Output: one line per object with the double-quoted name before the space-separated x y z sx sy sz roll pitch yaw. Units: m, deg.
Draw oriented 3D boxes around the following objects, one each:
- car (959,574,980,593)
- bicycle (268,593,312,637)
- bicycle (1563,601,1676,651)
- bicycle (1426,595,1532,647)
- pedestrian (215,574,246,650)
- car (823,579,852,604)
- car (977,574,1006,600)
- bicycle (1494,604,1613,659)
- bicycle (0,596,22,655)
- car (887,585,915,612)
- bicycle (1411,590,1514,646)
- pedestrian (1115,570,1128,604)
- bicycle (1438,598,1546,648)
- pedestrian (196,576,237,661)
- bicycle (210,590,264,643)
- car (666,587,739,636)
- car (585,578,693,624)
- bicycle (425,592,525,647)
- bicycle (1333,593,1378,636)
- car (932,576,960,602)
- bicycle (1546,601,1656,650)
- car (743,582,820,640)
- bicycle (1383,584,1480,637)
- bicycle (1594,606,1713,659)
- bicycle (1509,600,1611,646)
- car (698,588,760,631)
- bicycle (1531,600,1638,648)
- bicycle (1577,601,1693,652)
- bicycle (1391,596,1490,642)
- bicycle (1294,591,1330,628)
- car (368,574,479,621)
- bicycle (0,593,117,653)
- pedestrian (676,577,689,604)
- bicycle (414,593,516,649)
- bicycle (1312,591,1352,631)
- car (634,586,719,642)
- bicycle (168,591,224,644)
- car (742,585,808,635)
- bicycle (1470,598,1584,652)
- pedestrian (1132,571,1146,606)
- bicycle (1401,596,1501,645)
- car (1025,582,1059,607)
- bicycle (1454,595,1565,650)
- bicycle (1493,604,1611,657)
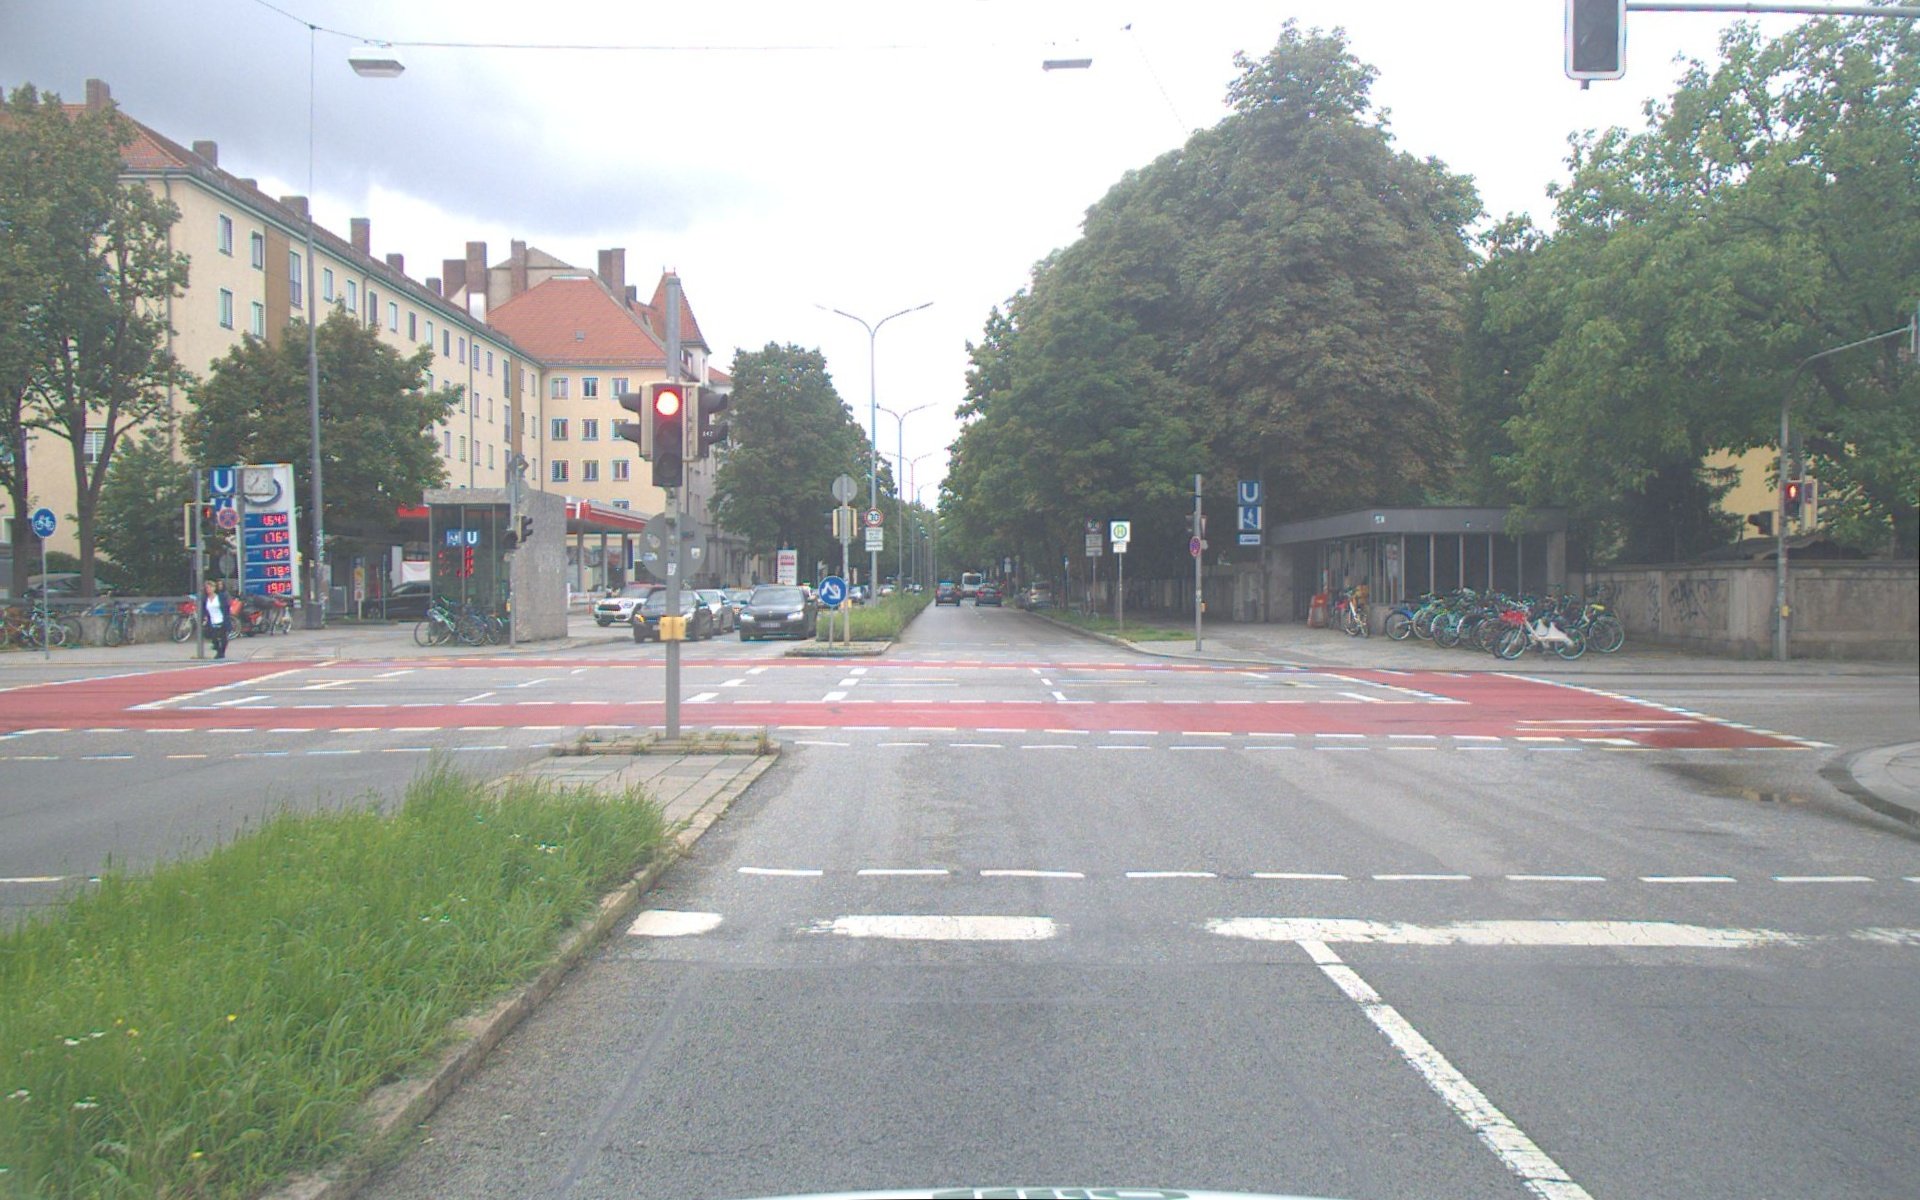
"car" 0.923 -1.556 159.163 1.953 1.787 3.999 0 1 -1
"bicycle" -18.402 0.388 45.447 0.596 1.165 1.963 0 1 -7
"bicycle" 13.785 0.541 34.598 2.097 1.032 0.634 0 0 8
"bicycle" 11.156 0.444 35.614 2.097 1.105 0.603 0 0 8
"pedestrian" -16.706 0.270 37.874 0.583 1.725 0.571 0 0 -31
"car" -8.531 -0.584 115.357 1.838 1.697 3.999 0 1 -2
"car" 2.139 -0.909 114.441 1.883 1.713 4.000 1 0 0
"bicycle" 11.504 0.610 32.089 2.097 1.032 0.603 0 0 8
"bicycle" -21.493 0.563 35.619 2.149 1.257 0.761 -1 0 -22
"car" -3.216 -0.118 90.334 1.438 1.423 3.699 0 1 -1
"bicycle" 11.022 0.390 36.350 2.097 1.199 0.603 0 0 8
"pedestrian" 8.131 -0.636 83.170 0.663 1.712 0.683 0 0 6
"bicycle" 11.201 0.474 34.885 2.097 1.032 0.603 0 0 8
"pedestrian" -15.388 0.377 34.239 0.522 1.725 0.577 0 0 11
"bicycle" -18.036 0.396 41.304 0.596 1.257 2.184 0 1 -7
"car" -8.231 0.332 53.137 1.724 1.486 4.000 0 1 -1
"car" -12.007 0.013 62.027 1.778 1.637 3.958 0 1 32
"bicycle" -11.908 0.479 40.646 2.238 1.327 0.694 0 0 0
"bicycle" 9.828 0.348 41.158 0.545 1.032 2.015 0 1 -2
"car" -0.952 -0.734 111.321 1.819 1.713 4.000 0 1 -1
"bicycle" 13.699 0.535 35.391 2.097 1.032 0.634 0 0 8
"car" -4.884 0.278 45.636 1.724 1.519 4.000 0 1 -1
"bicycle" 11.004 0.243 38.651 2.097 1.240 0.603 0 0 8
"bicycle" 13.841 0.648 33.034 2.097 1.032 0.634 0 0 8
"bicycle" 13.687 0.530 37.757 2.097 1.032 0.634 0 0 8
"car" -8.335 0.321 59.979 1.724 1.486 4.000 0 1 -1
"bicycle" 13.641 0.530 36.176 2.097 1.032 0.634 0 0 8
"bicycle" 13.785 0.542 33.830 2.097 1.032 0.634 0 0 8
"bicycle" 11.009 0.425 37.933 2.097 1.032 0.603 0 0 8
"bicycle" 10.061 0.263 47.311 0.545 1.032 2.015 0 1 -2
"car" -21.653 -0.119 66.890 3.907 1.870 1.879 0 0 -3
"bicycle" -20.244 0.511 36.710 2.676 1.273 0.785 1 0 -31
"pedestrian" -17.318 -0.570 103.235 0.682 1.666 0.738 0 0 0
"bicycle" -11.926 0.498 39.866 2.225 1.327 0.704 0 0 0
"bicycle" 9.861 0.275 43.891 0.545 1.032 2.015 0 1 -2
"car" -7.923 0.350 46.501 1.724 1.486 4.000 0 1 -1
"bicycle" -18.676 0.405 40.471 0.596 1.257 2.184 0 1 -7
"car" -5.898 0.305 53.083 1.724 1.519 4.000 0 1 -1
"bicycle" 11.472 0.502 33.517 2.097 1.089 0.603 0 0 8
"pedestrian" 9.014 -0.581 83.325 0.663 1.712 0.683 0 0 6
"bicycle" 10.987 0.446 37.052 2.097 1.080 0.603 0 0 8
"car" 4.660 -0.352 94.666 1.707 1.387 3.806 0 1 -1
"bicycle" 11.332 0.460 34.171 2.097 1.120 0.603 0 0 8
"bicycle" 11.695 0.593 32.714 2.097 1.032 0.634 0 0 8
